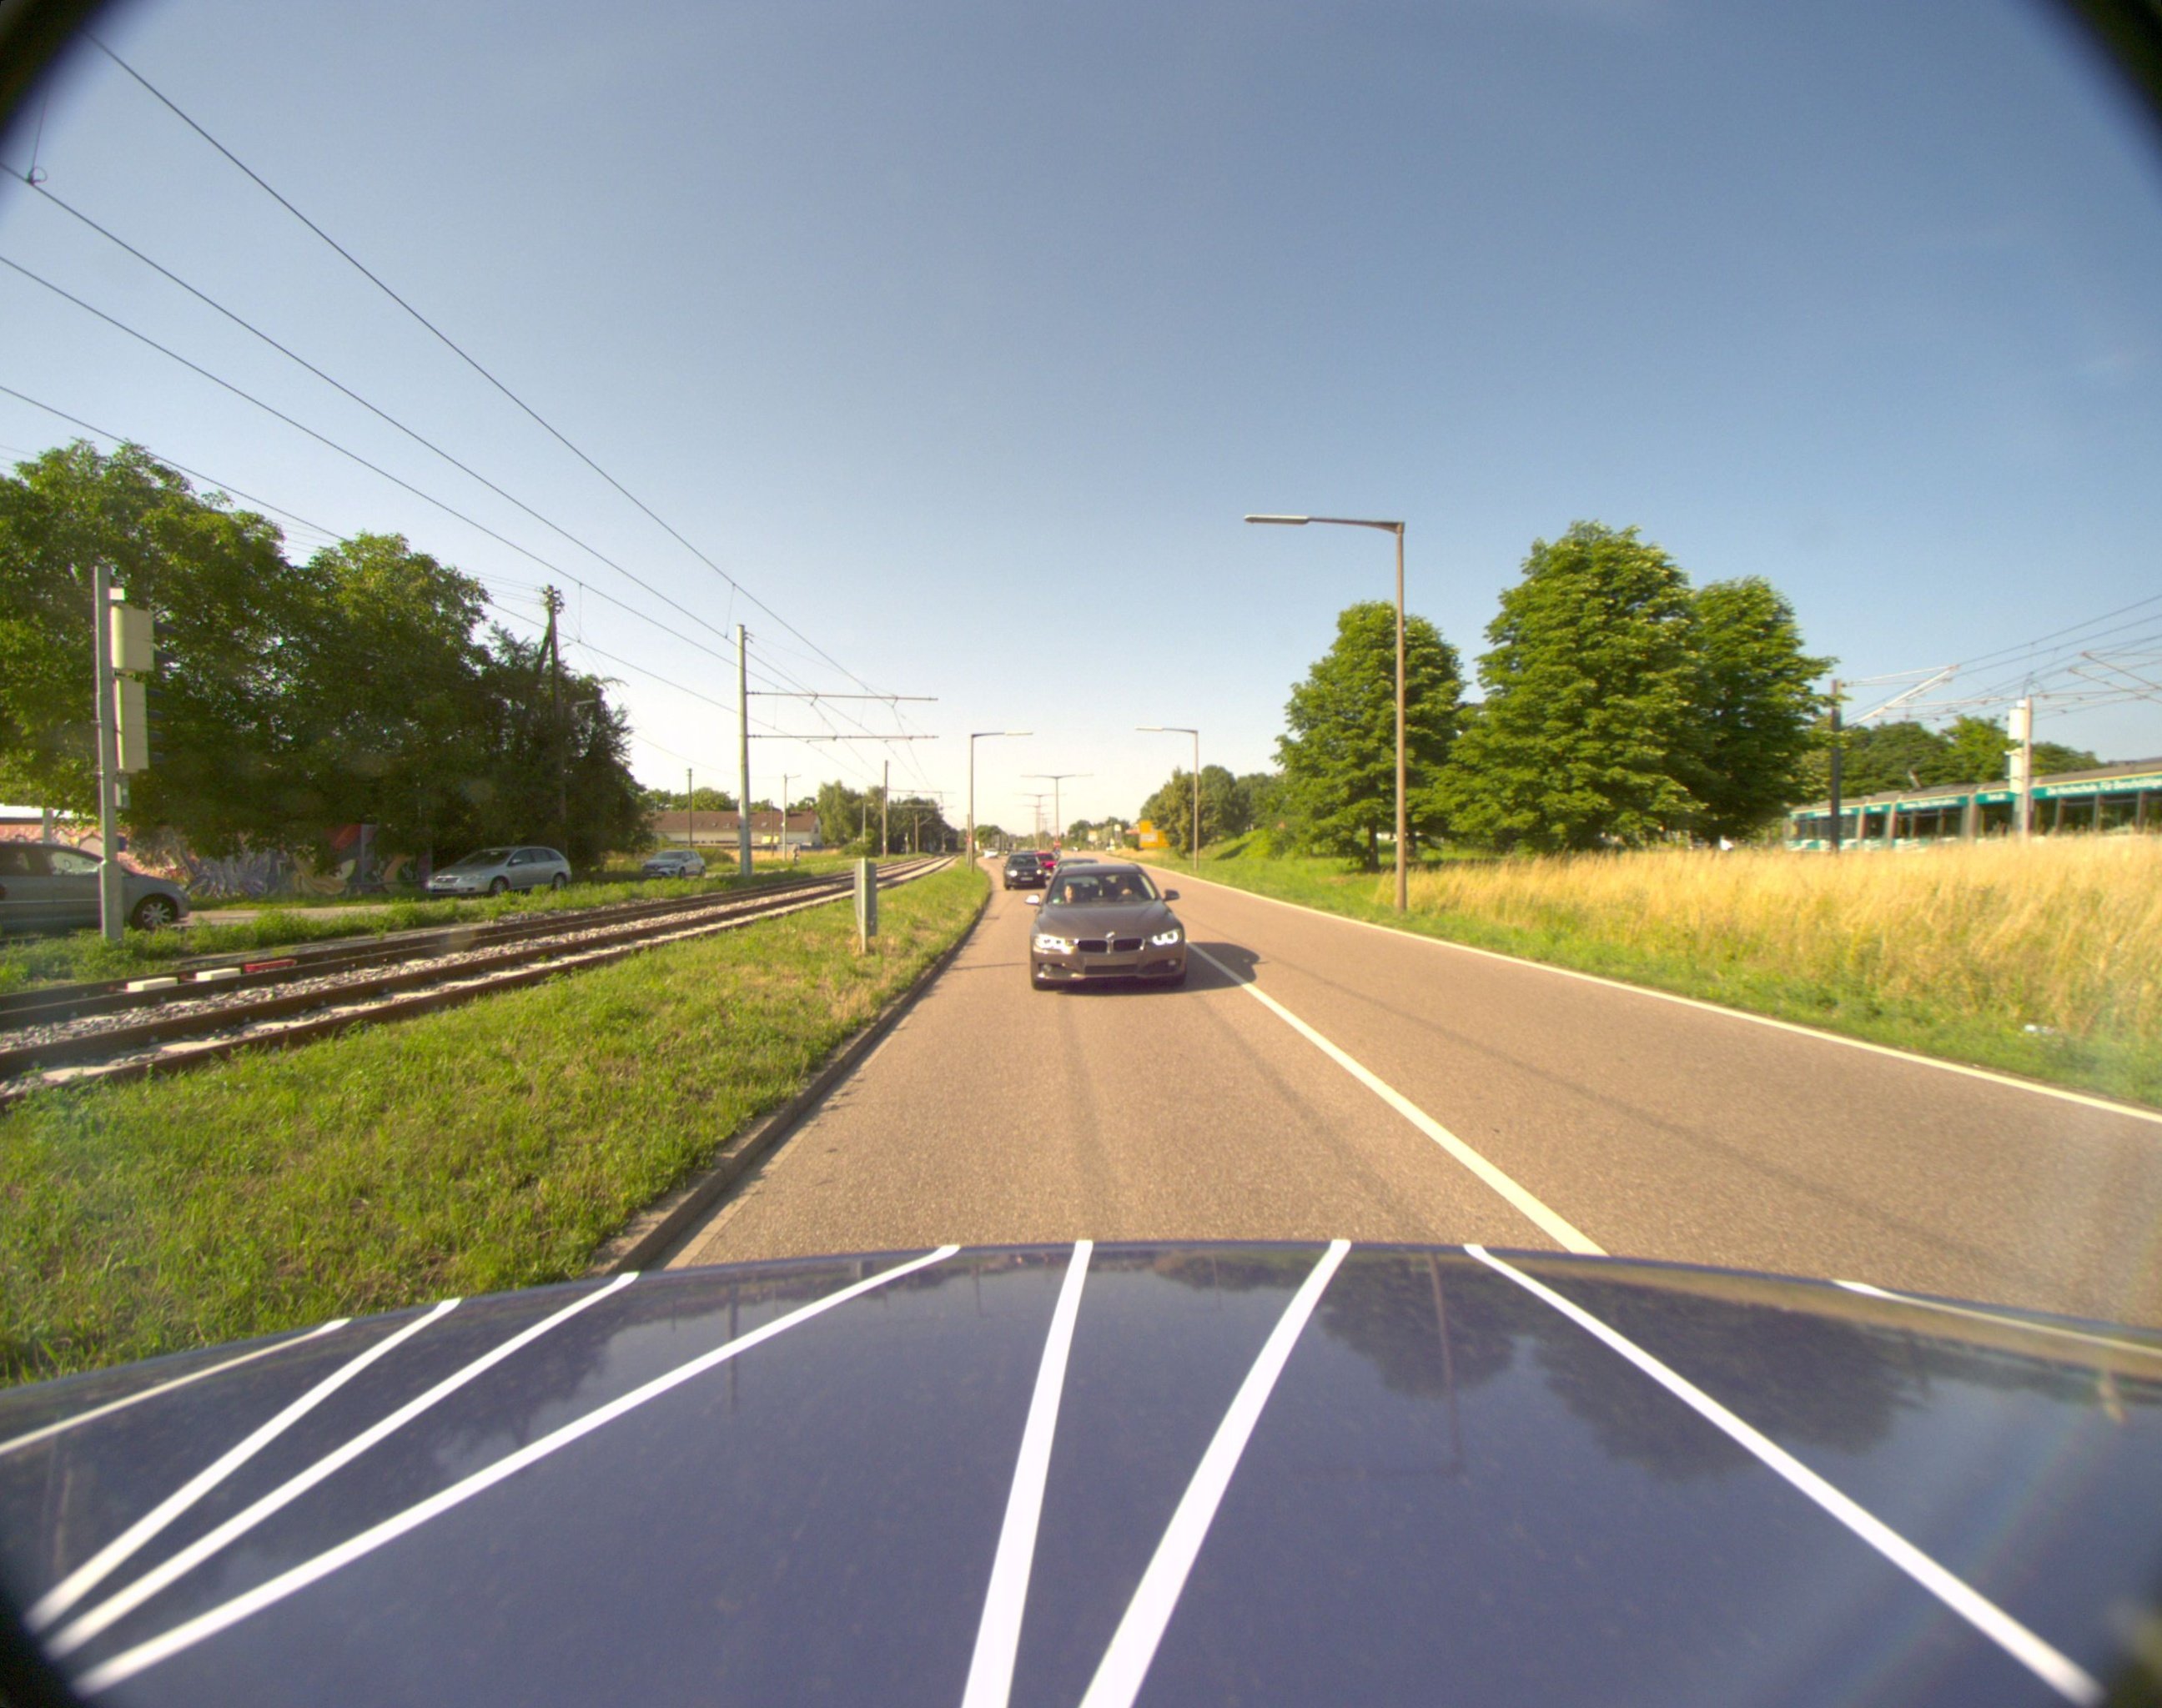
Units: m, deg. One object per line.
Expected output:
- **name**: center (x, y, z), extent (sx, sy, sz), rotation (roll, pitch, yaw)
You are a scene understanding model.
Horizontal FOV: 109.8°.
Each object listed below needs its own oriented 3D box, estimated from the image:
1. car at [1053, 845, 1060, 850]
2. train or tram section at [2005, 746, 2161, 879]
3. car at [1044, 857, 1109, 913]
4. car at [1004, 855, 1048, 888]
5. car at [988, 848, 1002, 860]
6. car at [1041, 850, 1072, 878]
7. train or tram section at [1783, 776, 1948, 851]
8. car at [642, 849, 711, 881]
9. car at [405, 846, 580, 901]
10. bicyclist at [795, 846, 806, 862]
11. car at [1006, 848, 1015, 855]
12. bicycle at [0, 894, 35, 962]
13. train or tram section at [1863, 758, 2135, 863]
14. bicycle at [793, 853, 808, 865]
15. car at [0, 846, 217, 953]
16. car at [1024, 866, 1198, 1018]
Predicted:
- **car**: center (-7.648, -1.953, 238.718), extent (1.564, 1.369, 3.382), rotation (-3, 2, -10)
- **train or tram section**: center (29.979, -1.131, 19.507), extent (2.908, 3.549, 14.282), rotation (-1, 2, 29)
- **car**: center (-0.067, 0.846, 22.705), extent (1.710, 1.444, 4.590), rotation (-2, 0, 1)
- **car**: center (-2.551, 0.752, 35.179), extent (1.848, 1.347, 4.152), rotation (-2, 1, -4)
- **car**: center (-12.121, 0.038, 107.441), extent (1.969, 1.609, 4.305), rotation (-1, 1, -6)
- **car**: center (-1.498, 0.536, 44.873), extent (1.608, 1.504, 4.266), rotation (-2, 1, -4)
- **train or tram section**: center (42.409, -2.070, 41.712), extent (2.952, 3.464, 12.186), rotation (-1, 1, 29)
- **car**: center (-19.221, 0.490, 36.284), extent (1.539, 1.440, 4.128), rotation (0, 0, -7)
- **car**: center (-18.398, 0.535, 24.110), extent (1.912, 1.581, 4.726), rotation (0, 0, -1)
- **bicyclist**: center (-22.484, -0.004, 60.940), extent (0.641, 1.226, 0.791), rotation (-2, 1, -5)
- **car**: center (-15.239, -0.559, 164.205), extent (1.838, 1.504, 4.150), rotation (-2, 1, -8)
- **bicycle**: center (-14.999, 1.026, 9.728), extent (0.644, 0.904, 1.843), rotation (-1, 1, -2)
- **train or tram section**: center (36.456, -1.655, 31.066), extent (2.919, 3.434, 12.185), rotation (-1, 2, 29)
- **bicycle**: center (-22.481, 0.425, 61.022), extent (0.644, 0.904, 1.812), rotation (-2, 1, -5)
- **car**: center (-17.016, 0.670, 12.153), extent (1.527, 1.601, 4.481), rotation (0, 0, -5)
- **car**: center (0.248, 0.929, 9.766), extent (1.748, 1.444, 3.946), rotation (-2, 0, -2)
